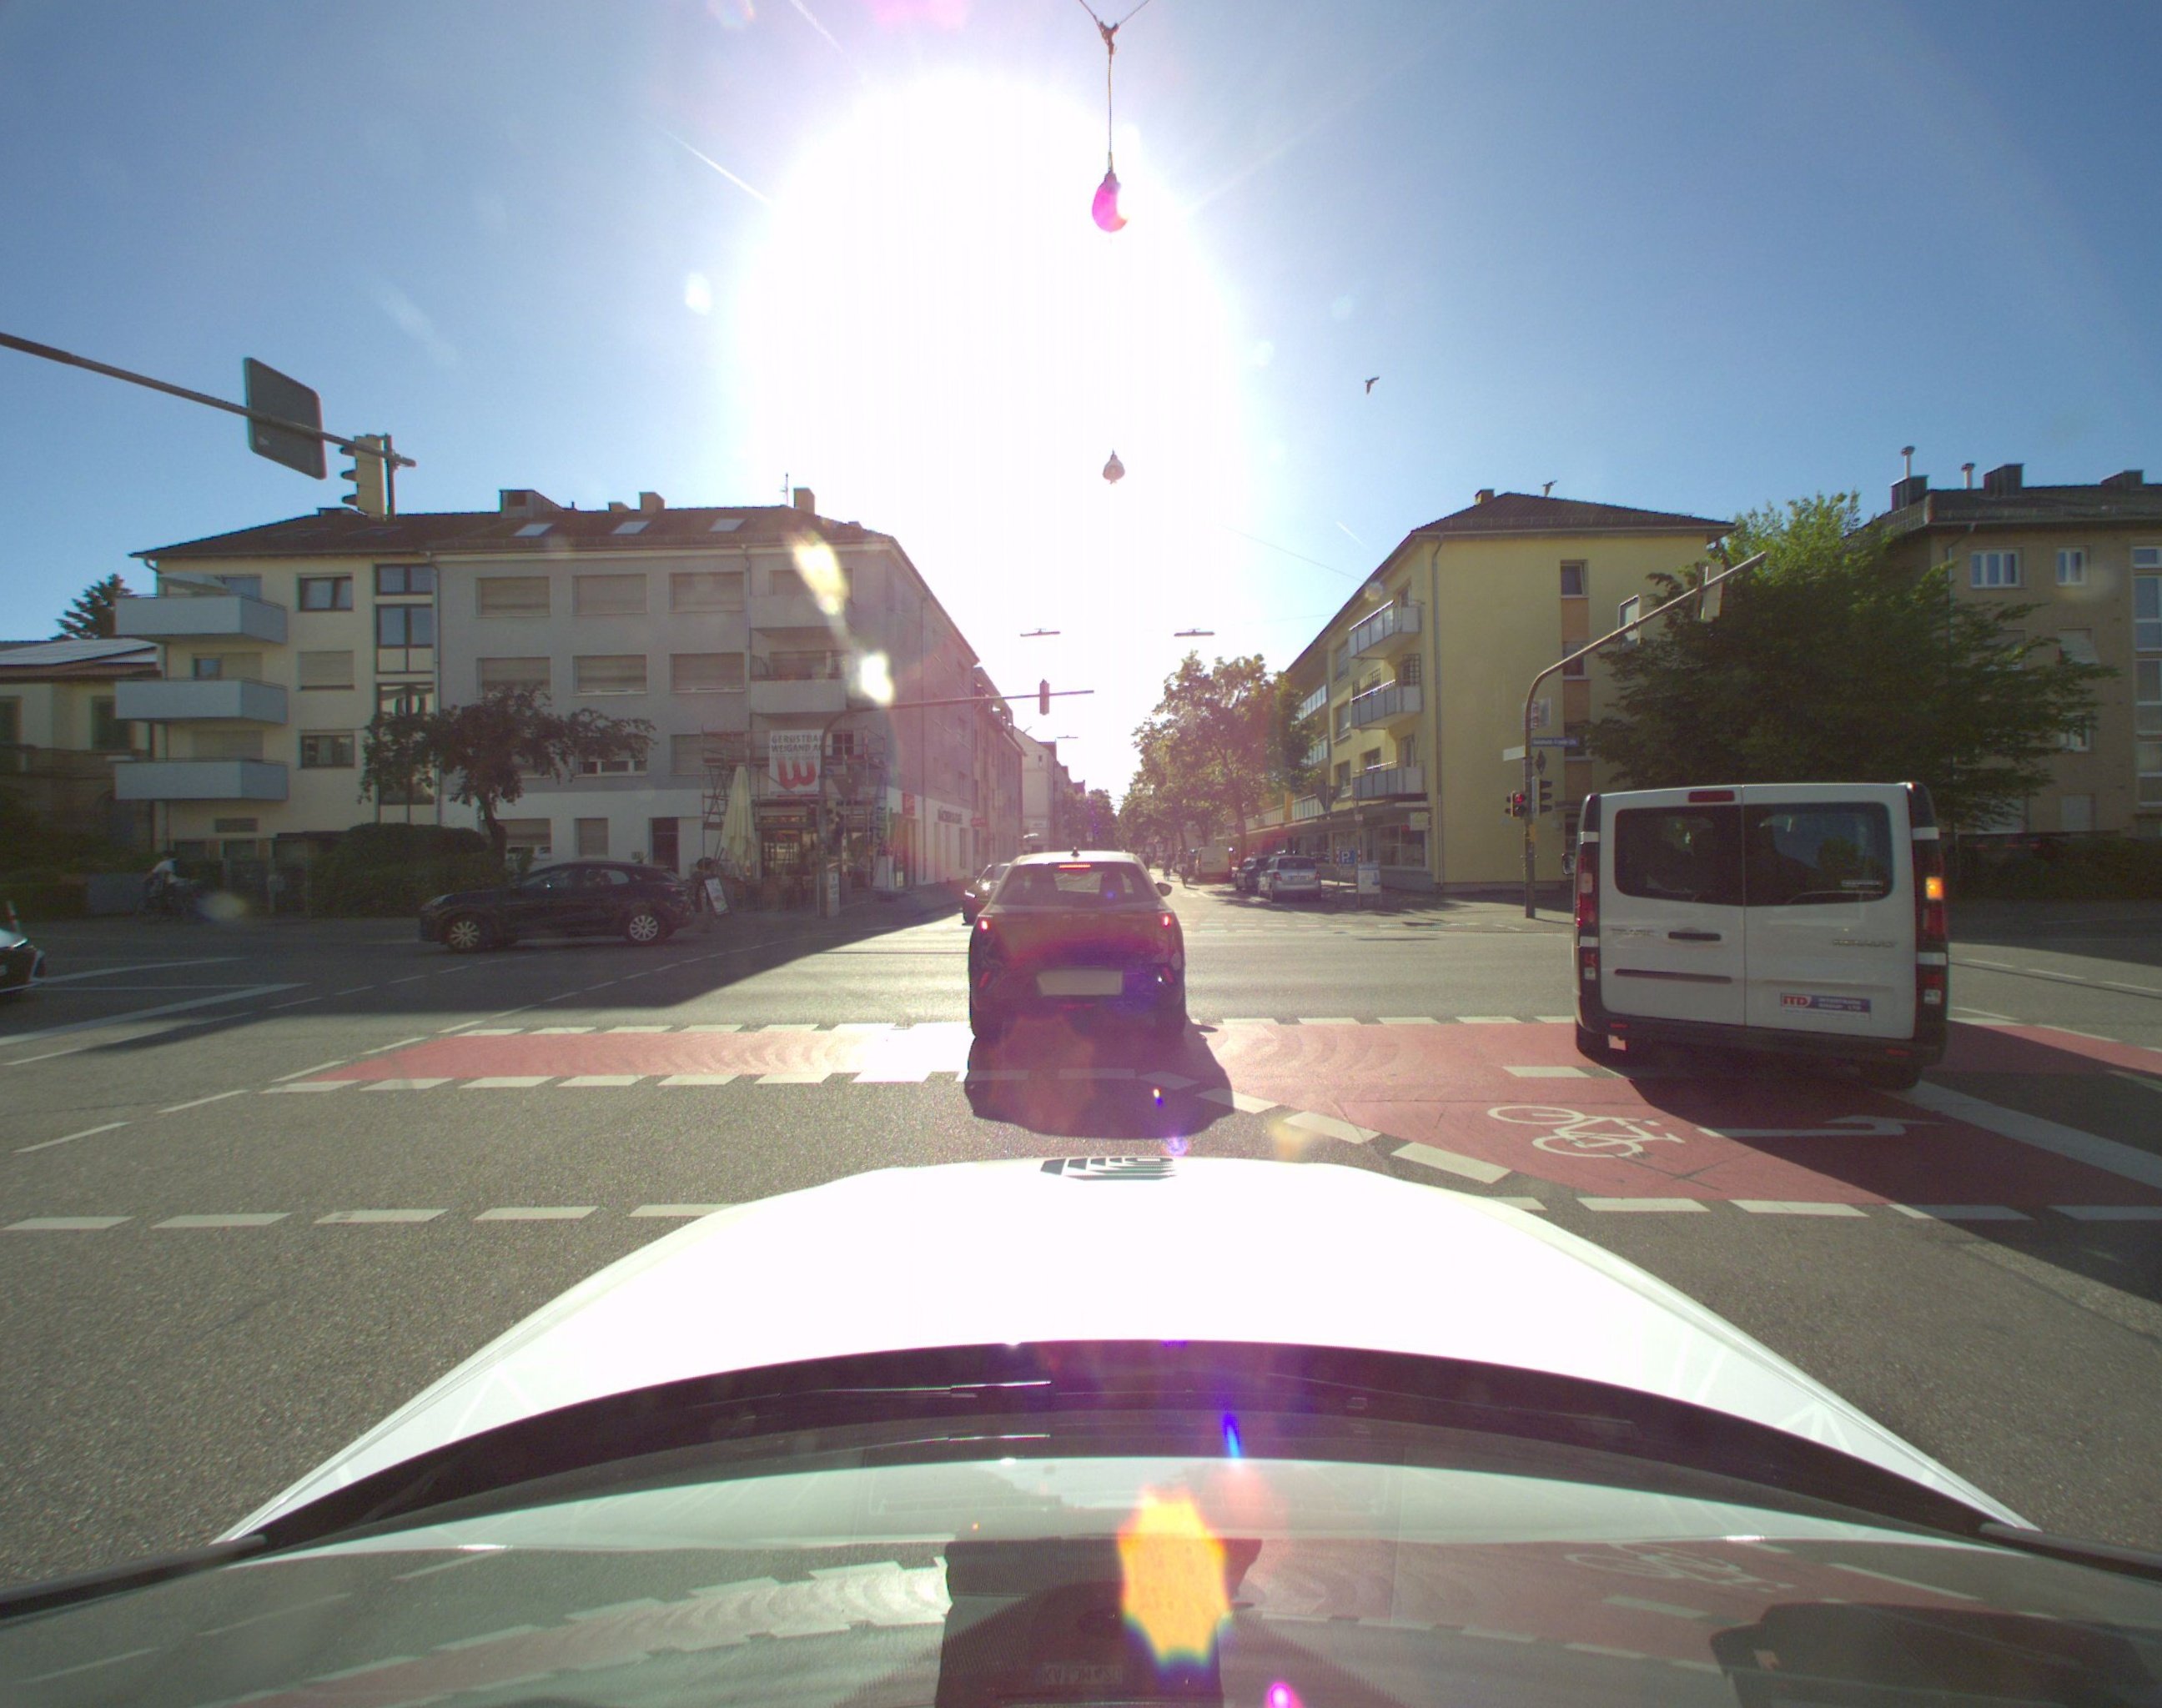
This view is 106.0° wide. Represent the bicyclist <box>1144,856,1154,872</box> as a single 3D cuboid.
[{"bbox_3d":[5.205,0.783,62.222,0.689,1.193,0.595,-1,0,3],"label":"bicyclist"}]

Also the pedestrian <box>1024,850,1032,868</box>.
[{"bbox_3d":[-4.295,0.379,66.182,0.575,1.467,0.702,-1,0,-3],"label":"pedestrian"}]

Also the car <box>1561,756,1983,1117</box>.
[{"bbox_3d":[5.359,0.458,7.052,1.949,1.940,5.087,0,0,32],"label":"car"}]

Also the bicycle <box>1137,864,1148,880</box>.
[{"bbox_3d":[3.465,0.996,46.075,0.617,0.866,1.878,-1,0,3],"label":"bicycle"}]

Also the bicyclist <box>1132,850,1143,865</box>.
[{"bbox_3d":[5.074,0.332,73.003,0.853,1.314,1.211,1,0,2],"label":"bicyclist"}]

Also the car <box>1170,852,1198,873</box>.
[{"bbox_3d":[7.406,0.590,58.563,1.706,1.483,3.383,-1,0,3],"label":"car"}]

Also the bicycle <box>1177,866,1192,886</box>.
[{"bbox_3d":[4.754,0.999,37.531,0.544,0.866,1.878,-1,0,3],"label":"bicycle"}]

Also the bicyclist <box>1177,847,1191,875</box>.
[{"bbox_3d":[4.736,0.315,37.465,0.544,1.262,0.803,-1,0,3],"label":"bicyclist"}]

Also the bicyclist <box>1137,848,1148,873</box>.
[{"bbox_3d":[3.466,0.350,46.153,0.586,1.382,0.823,-1,0,3],"label":"bicyclist"}]

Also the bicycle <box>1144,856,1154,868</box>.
[{"bbox_3d":[5.199,0.629,62.251,0.688,0.866,1.878,-1,0,3],"label":"bicycle"}]

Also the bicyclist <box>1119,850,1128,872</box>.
[{"bbox_3d":[3.175,0.509,60.951,0.630,1.669,1.051,-1,0,2],"label":"bicyclist"}]

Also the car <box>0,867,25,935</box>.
[{"bbox_3d":[-26.511,1.123,17.945,3.972,1.519,1.917,-1,1,1],"label":"car"}]

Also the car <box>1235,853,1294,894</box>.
[{"bbox_3d":[7.221,0.732,32.259,1.706,1.483,3.383,-1,0,3],"label":"car"}]

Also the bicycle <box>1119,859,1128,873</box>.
[{"bbox_3d":[3.203,0.881,61.150,0.630,1.041,1.796,-1,0,2],"label":"bicycle"}]

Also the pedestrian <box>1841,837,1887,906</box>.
[{"bbox_3d":[18.114,0.406,18.852,0.537,1.571,0.539,-1,0,2],"label":"pedestrian"}]

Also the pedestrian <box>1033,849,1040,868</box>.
[{"bbox_3d":[-3.616,0.371,66.213,0.575,1.583,0.707,-1,0,-3],"label":"pedestrian"}]

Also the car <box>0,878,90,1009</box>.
[{"bbox_3d":[-14.527,1.080,9.265,4.235,1.435,1.937,0,3,4],"label":"car"}]

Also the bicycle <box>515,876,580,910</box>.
[{"bbox_3d":[-15.455,1.125,23.597,1.581,0.940,0.513,-1,0,4],"label":"bicycle"}]

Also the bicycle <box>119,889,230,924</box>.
[{"bbox_3d":[-22.240,1.286,19.990,2.117,0.833,0.555,0,0,1],"label":"bicycle"}]

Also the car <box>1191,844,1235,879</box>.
[{"bbox_3d":[7.437,0.406,46.248,2.037,1.846,4.588,-1,0,3],"label":"car"}]

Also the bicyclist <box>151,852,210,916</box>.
[{"bbox_3d":[-22.115,0.727,20.012,0.809,1.549,0.555,0,0,1],"label":"bicyclist"}]

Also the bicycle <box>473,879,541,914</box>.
[{"bbox_3d":[-16.096,1.194,22.845,1.581,0.940,0.513,-1,0,4],"label":"bicycle"}]

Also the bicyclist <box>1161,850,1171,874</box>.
[{"bbox_3d":[4.908,0.469,46.954,0.544,1.382,0.823,-1,0,3],"label":"bicyclist"}]

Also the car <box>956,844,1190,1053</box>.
[{"bbox_3d":[0.010,0.728,8.171,1.755,1.558,4.002,-1,0,2],"label":"car"}]

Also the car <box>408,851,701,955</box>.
[{"bbox_3d":[-9.118,0.799,14.509,4.090,1.566,1.586,-1,-1,-21],"label":"car"}]

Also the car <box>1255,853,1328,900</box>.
[{"bbox_3d":[7.058,0.722,27.654,1.706,1.483,3.482,-1,0,3],"label":"car"}]

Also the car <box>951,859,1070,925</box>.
[{"bbox_3d":[-1.690,0.909,21.171,1.793,1.413,4.441,-3,0,12],"label":"car"}]

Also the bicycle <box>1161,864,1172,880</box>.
[{"bbox_3d":[4.906,1.016,46.883,0.544,0.866,1.878,-1,0,3],"label":"bicycle"}]

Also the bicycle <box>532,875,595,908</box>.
[{"bbox_3d":[-15.481,1.129,24.389,1.581,0.940,0.513,-1,0,4],"label":"bicycle"}]

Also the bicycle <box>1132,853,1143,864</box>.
[{"bbox_3d":[5.073,0.422,73.104,0.853,0.945,2.308,1,0,2],"label":"bicycle"}]

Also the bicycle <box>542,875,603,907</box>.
[{"bbox_3d":[-15.660,1.135,25.083,1.581,0.940,0.513,-1,0,4],"label":"bicycle"}]

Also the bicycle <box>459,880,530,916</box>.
[{"bbox_3d":[-15.999,1.189,22.220,1.581,0.940,0.513,-1,0,4],"label":"bicycle"}]
